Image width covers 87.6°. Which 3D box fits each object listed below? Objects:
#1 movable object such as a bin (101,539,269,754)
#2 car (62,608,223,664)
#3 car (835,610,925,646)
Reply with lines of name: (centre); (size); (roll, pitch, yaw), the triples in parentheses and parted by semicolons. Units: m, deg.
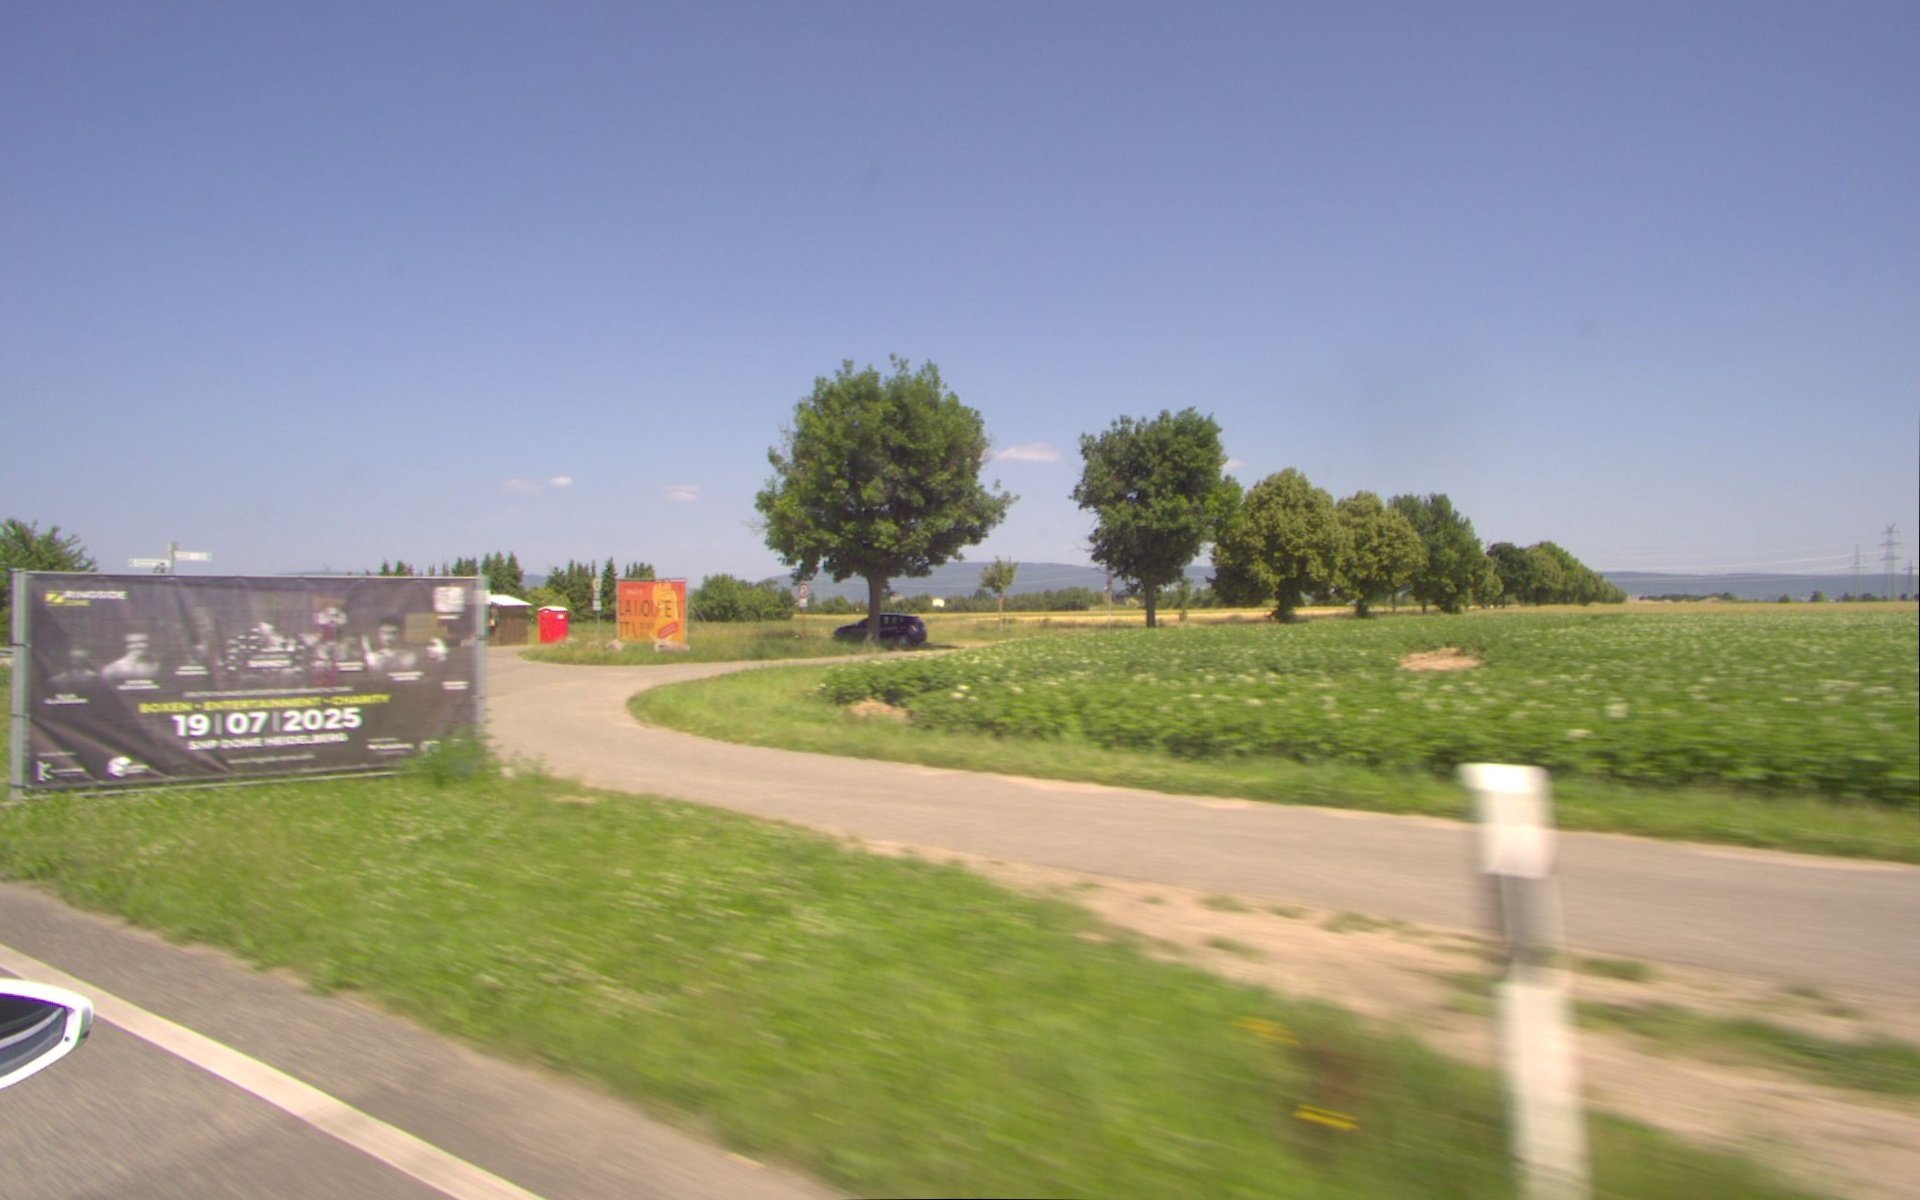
movable object such as a bin: (-10.383, 0.601, 13.325); (1.510, 2.392, 4.387); (2, -2, -40)
car: (-23.471, 1.002, 28.873); (1.378, 1.519, 3.337); (0, -1, 25)
car: (-3.628, 1.239, 45.030); (3.832, 1.547, 1.751); (0, -1, 36)
